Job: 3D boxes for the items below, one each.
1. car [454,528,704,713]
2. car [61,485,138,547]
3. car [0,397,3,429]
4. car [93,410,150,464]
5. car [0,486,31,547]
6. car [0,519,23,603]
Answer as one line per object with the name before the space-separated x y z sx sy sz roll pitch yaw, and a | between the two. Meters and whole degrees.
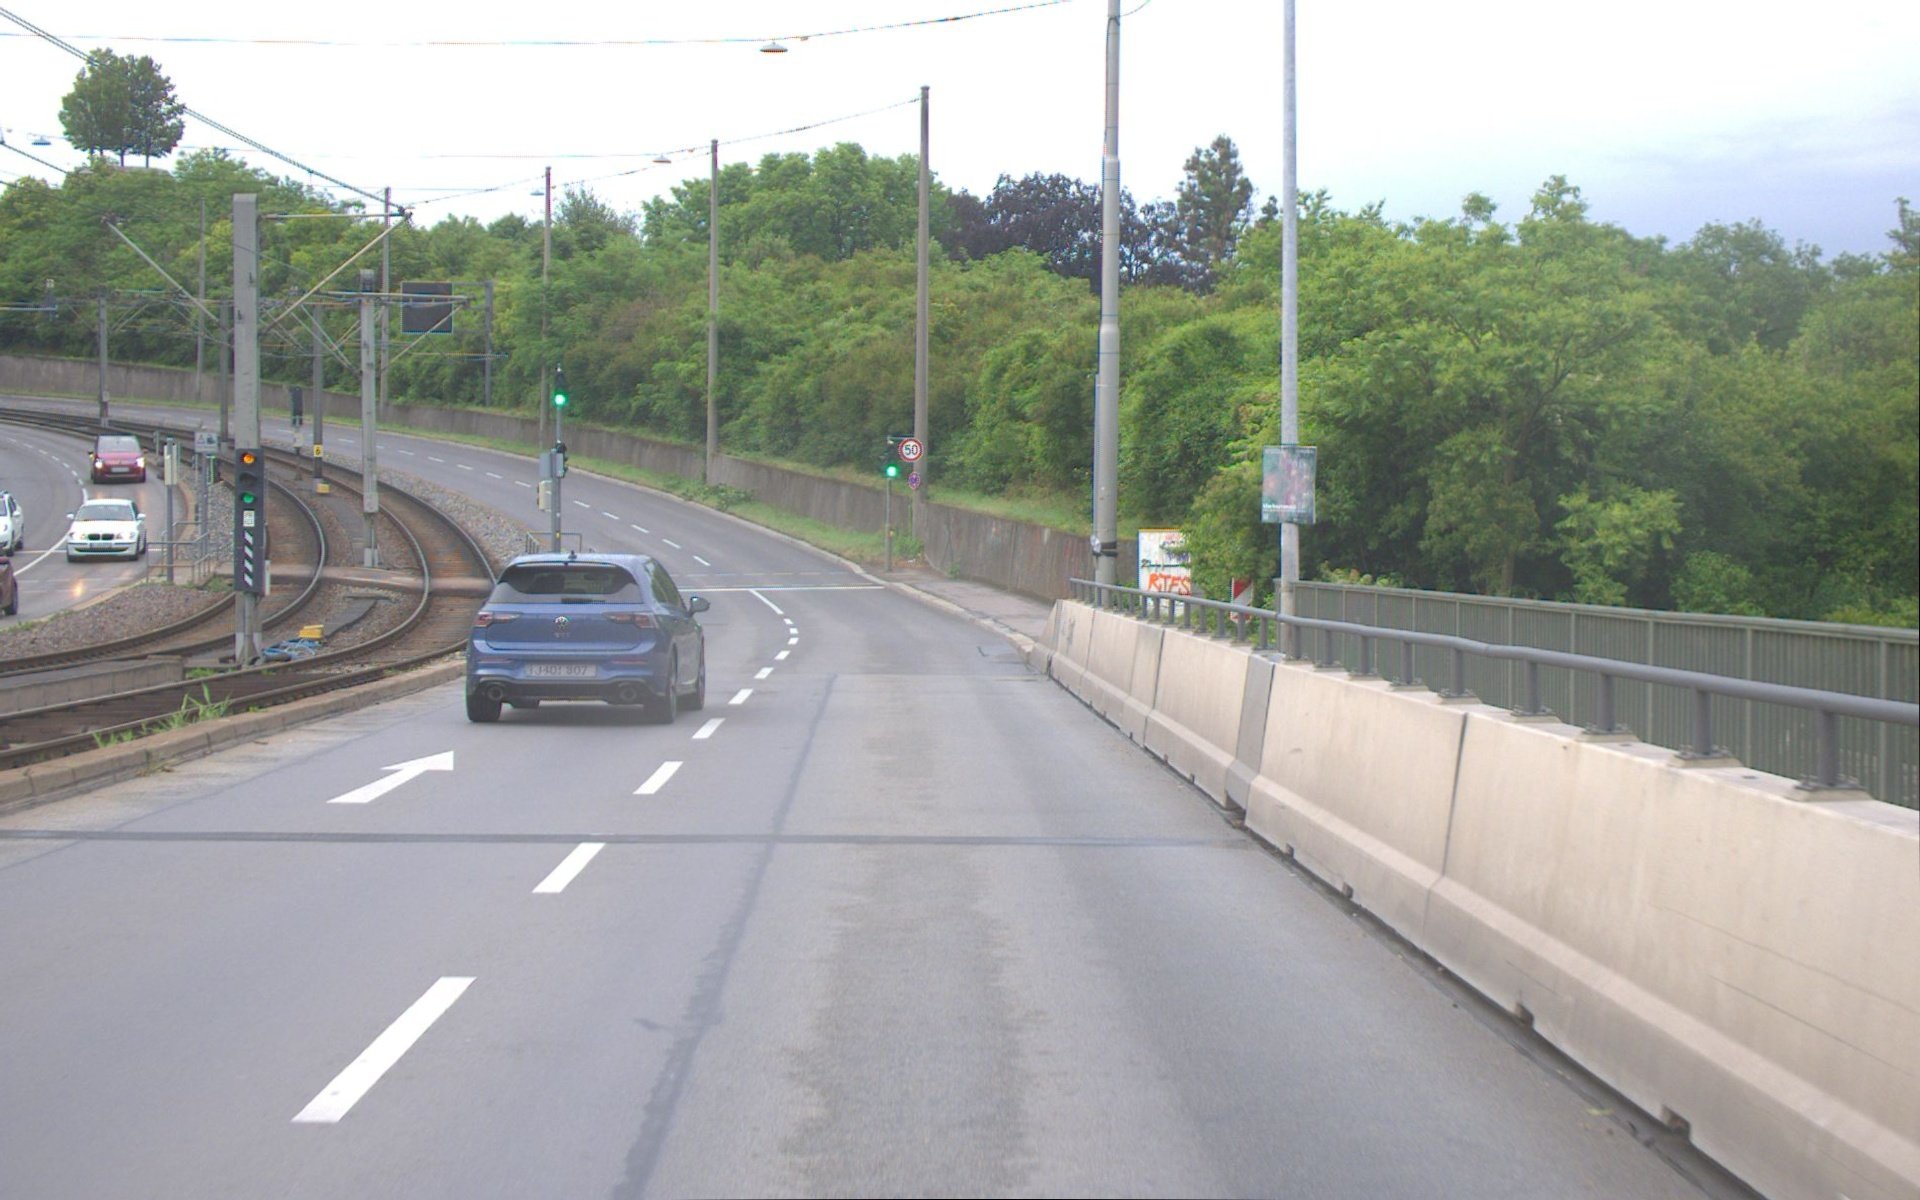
car | -3.290 0.141 30.361 1.763 1.496 4.000 1 1 0
car | -21.430 -2.077 85.526 1.729 1.432 4.493 -1 0 -15
car | -44.913 -8.567 157.093 1.715 1.453 4.277 -2 4 -22
car | -29.813 -5.817 122.320 1.847 1.591 4.735 -1 7 -13
car | -24.834 -2.103 87.619 1.820 1.510 4.530 0 1 -10
car | -18.541 -0.709 63.915 1.600 1.488 3.018 -1 3 -5
